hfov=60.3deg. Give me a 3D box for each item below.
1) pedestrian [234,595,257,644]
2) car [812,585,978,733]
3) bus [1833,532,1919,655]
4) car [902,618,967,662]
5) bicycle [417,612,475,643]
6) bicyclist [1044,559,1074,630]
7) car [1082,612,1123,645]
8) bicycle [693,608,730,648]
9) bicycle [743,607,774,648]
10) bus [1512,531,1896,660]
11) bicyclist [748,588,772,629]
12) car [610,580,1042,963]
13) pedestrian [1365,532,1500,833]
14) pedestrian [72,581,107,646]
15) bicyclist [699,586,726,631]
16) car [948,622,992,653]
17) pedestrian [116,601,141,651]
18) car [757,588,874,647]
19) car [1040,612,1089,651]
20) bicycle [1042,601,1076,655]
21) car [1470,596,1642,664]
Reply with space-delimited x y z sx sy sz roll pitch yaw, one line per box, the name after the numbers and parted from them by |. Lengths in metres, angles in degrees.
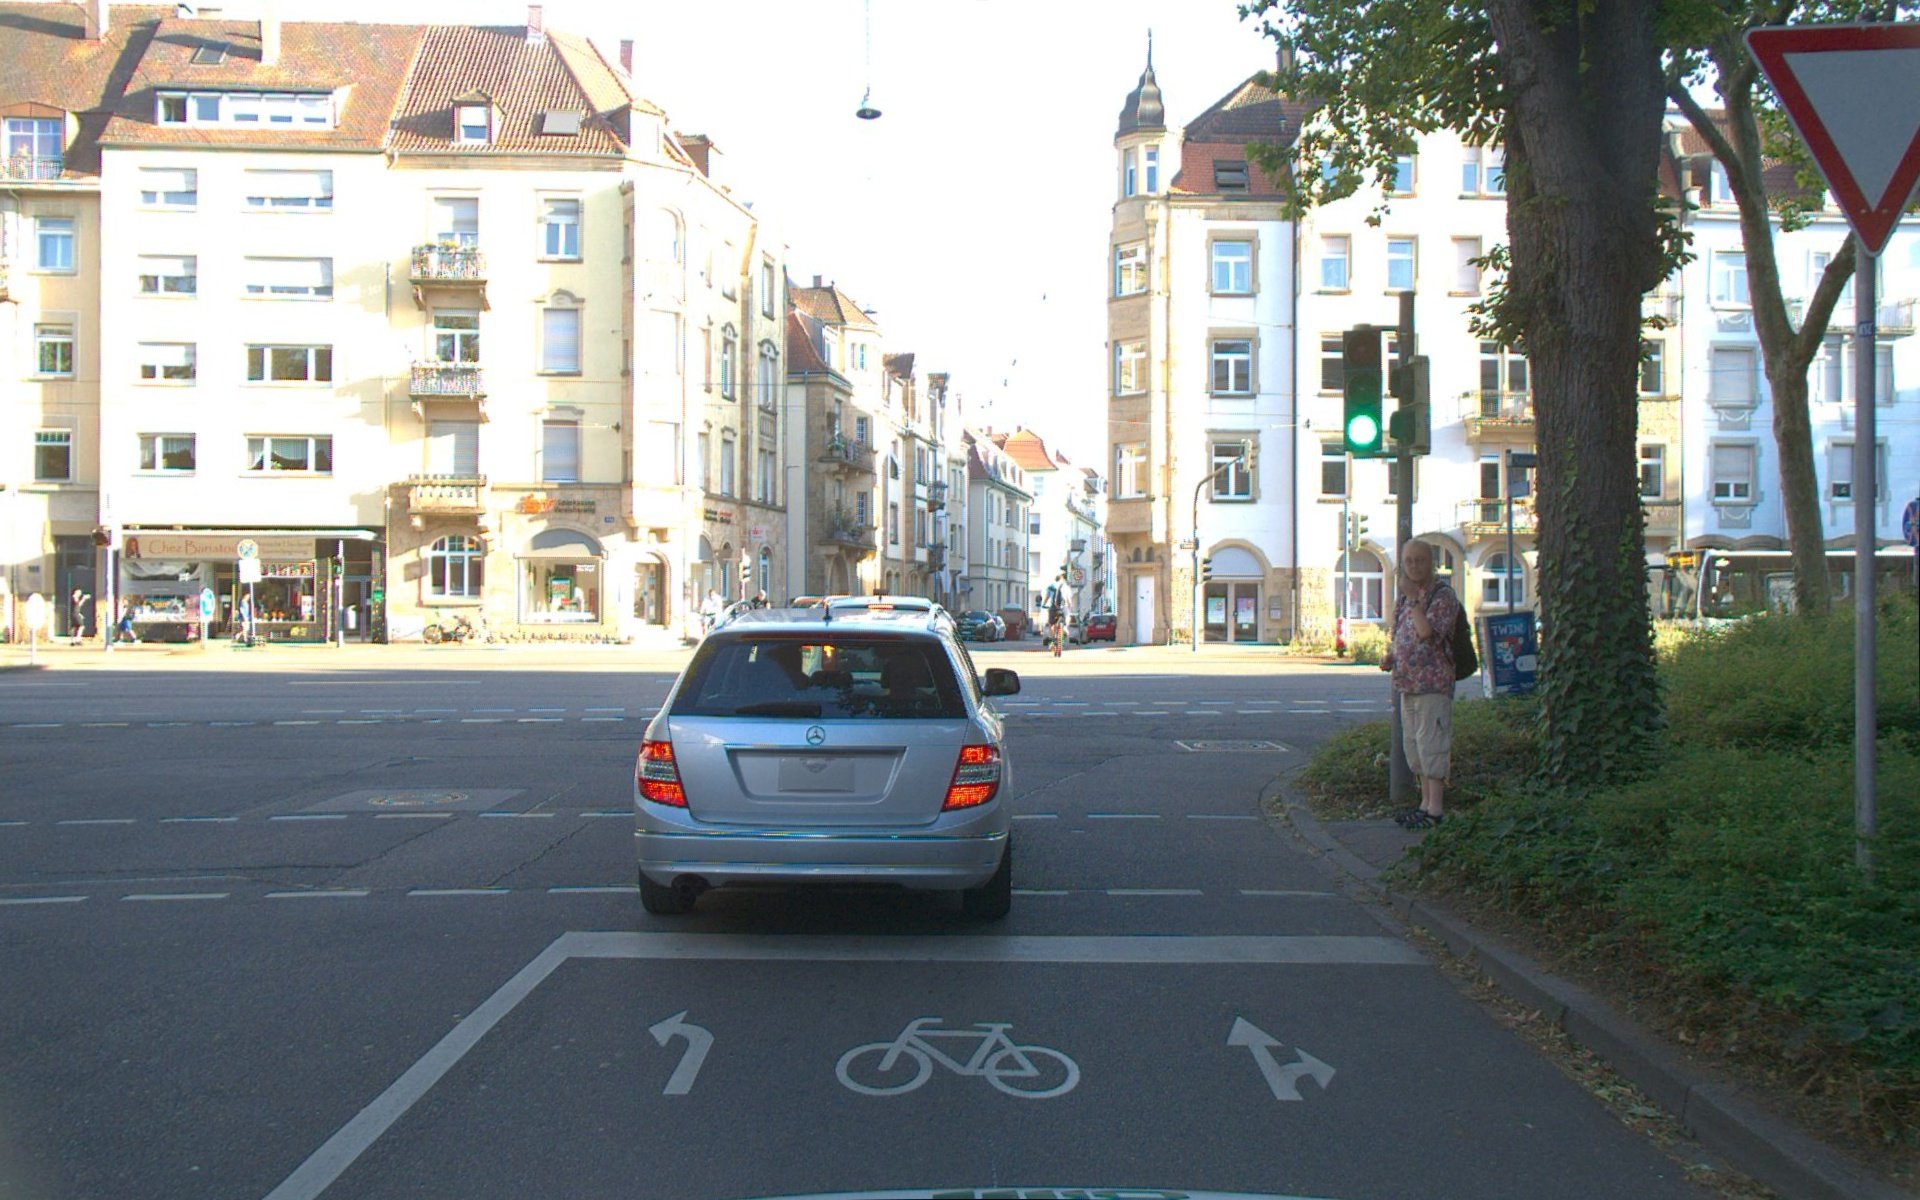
-23.406 0.624 54.213 0.552 1.591 0.467 1 -1 -7 | pedestrian
-0.705 0.628 19.163 1.697 1.506 3.813 1 0 -1 | car
32.087 -0.080 48.228 11.697 3.433 3.264 1 -1 -2 | bus
-1.039 1.615 68.671 1.791 1.736 4.003 1 0 13 | car
-17.099 0.913 55.082 1.771 1.046 0.492 0 0 -5 | bicycle
2.180 -0.117 36.507 0.597 1.520 0.767 1 -1 1 | bicyclist
7.858 1.573 90.804 1.791 1.736 4.003 1 0 11 | car
-7.161 0.798 47.823 0.637 1.124 2.552 1 0 1 | bicycle
-5.951 0.799 49.011 0.637 1.124 1.925 1 1 1 | bicycle
21.324 -0.102 47.776 9.668 3.433 3.275 1 -1 -2 | bus
-5.936 0.252 49.128 0.597 1.178 0.767 1 -1 1 | bicyclist
-0.563 0.702 8.699 1.697 1.503 4.171 1 0 -1 | car
2.992 0.508 10.520 0.685 1.838 0.666 1 -1 5 | pedestrian
-27.803 0.430 52.828 0.653 2.049 0.769 0 0 6 | pedestrian
-7.154 0.243 47.826 0.645 1.257 0.767 1 -1 1 | bicyclist
0.593 2.052 91.545 1.791 1.644 4.003 1 0 10 | car
-26.711 0.818 53.126 0.552 1.591 0.467 1 -1 -7 | pedestrian
-4.864 0.596 56.132 1.878 1.933 4.302 1 -1 29 | car
4.745 1.409 74.911 1.791 1.644 4.003 1 0 9 | car
2.165 0.606 36.497 0.606 1.124 2.552 1 0 1 | bicycle
15.952 0.806 44.401 3.905 1.713 1.936 1 -1 0 | car
